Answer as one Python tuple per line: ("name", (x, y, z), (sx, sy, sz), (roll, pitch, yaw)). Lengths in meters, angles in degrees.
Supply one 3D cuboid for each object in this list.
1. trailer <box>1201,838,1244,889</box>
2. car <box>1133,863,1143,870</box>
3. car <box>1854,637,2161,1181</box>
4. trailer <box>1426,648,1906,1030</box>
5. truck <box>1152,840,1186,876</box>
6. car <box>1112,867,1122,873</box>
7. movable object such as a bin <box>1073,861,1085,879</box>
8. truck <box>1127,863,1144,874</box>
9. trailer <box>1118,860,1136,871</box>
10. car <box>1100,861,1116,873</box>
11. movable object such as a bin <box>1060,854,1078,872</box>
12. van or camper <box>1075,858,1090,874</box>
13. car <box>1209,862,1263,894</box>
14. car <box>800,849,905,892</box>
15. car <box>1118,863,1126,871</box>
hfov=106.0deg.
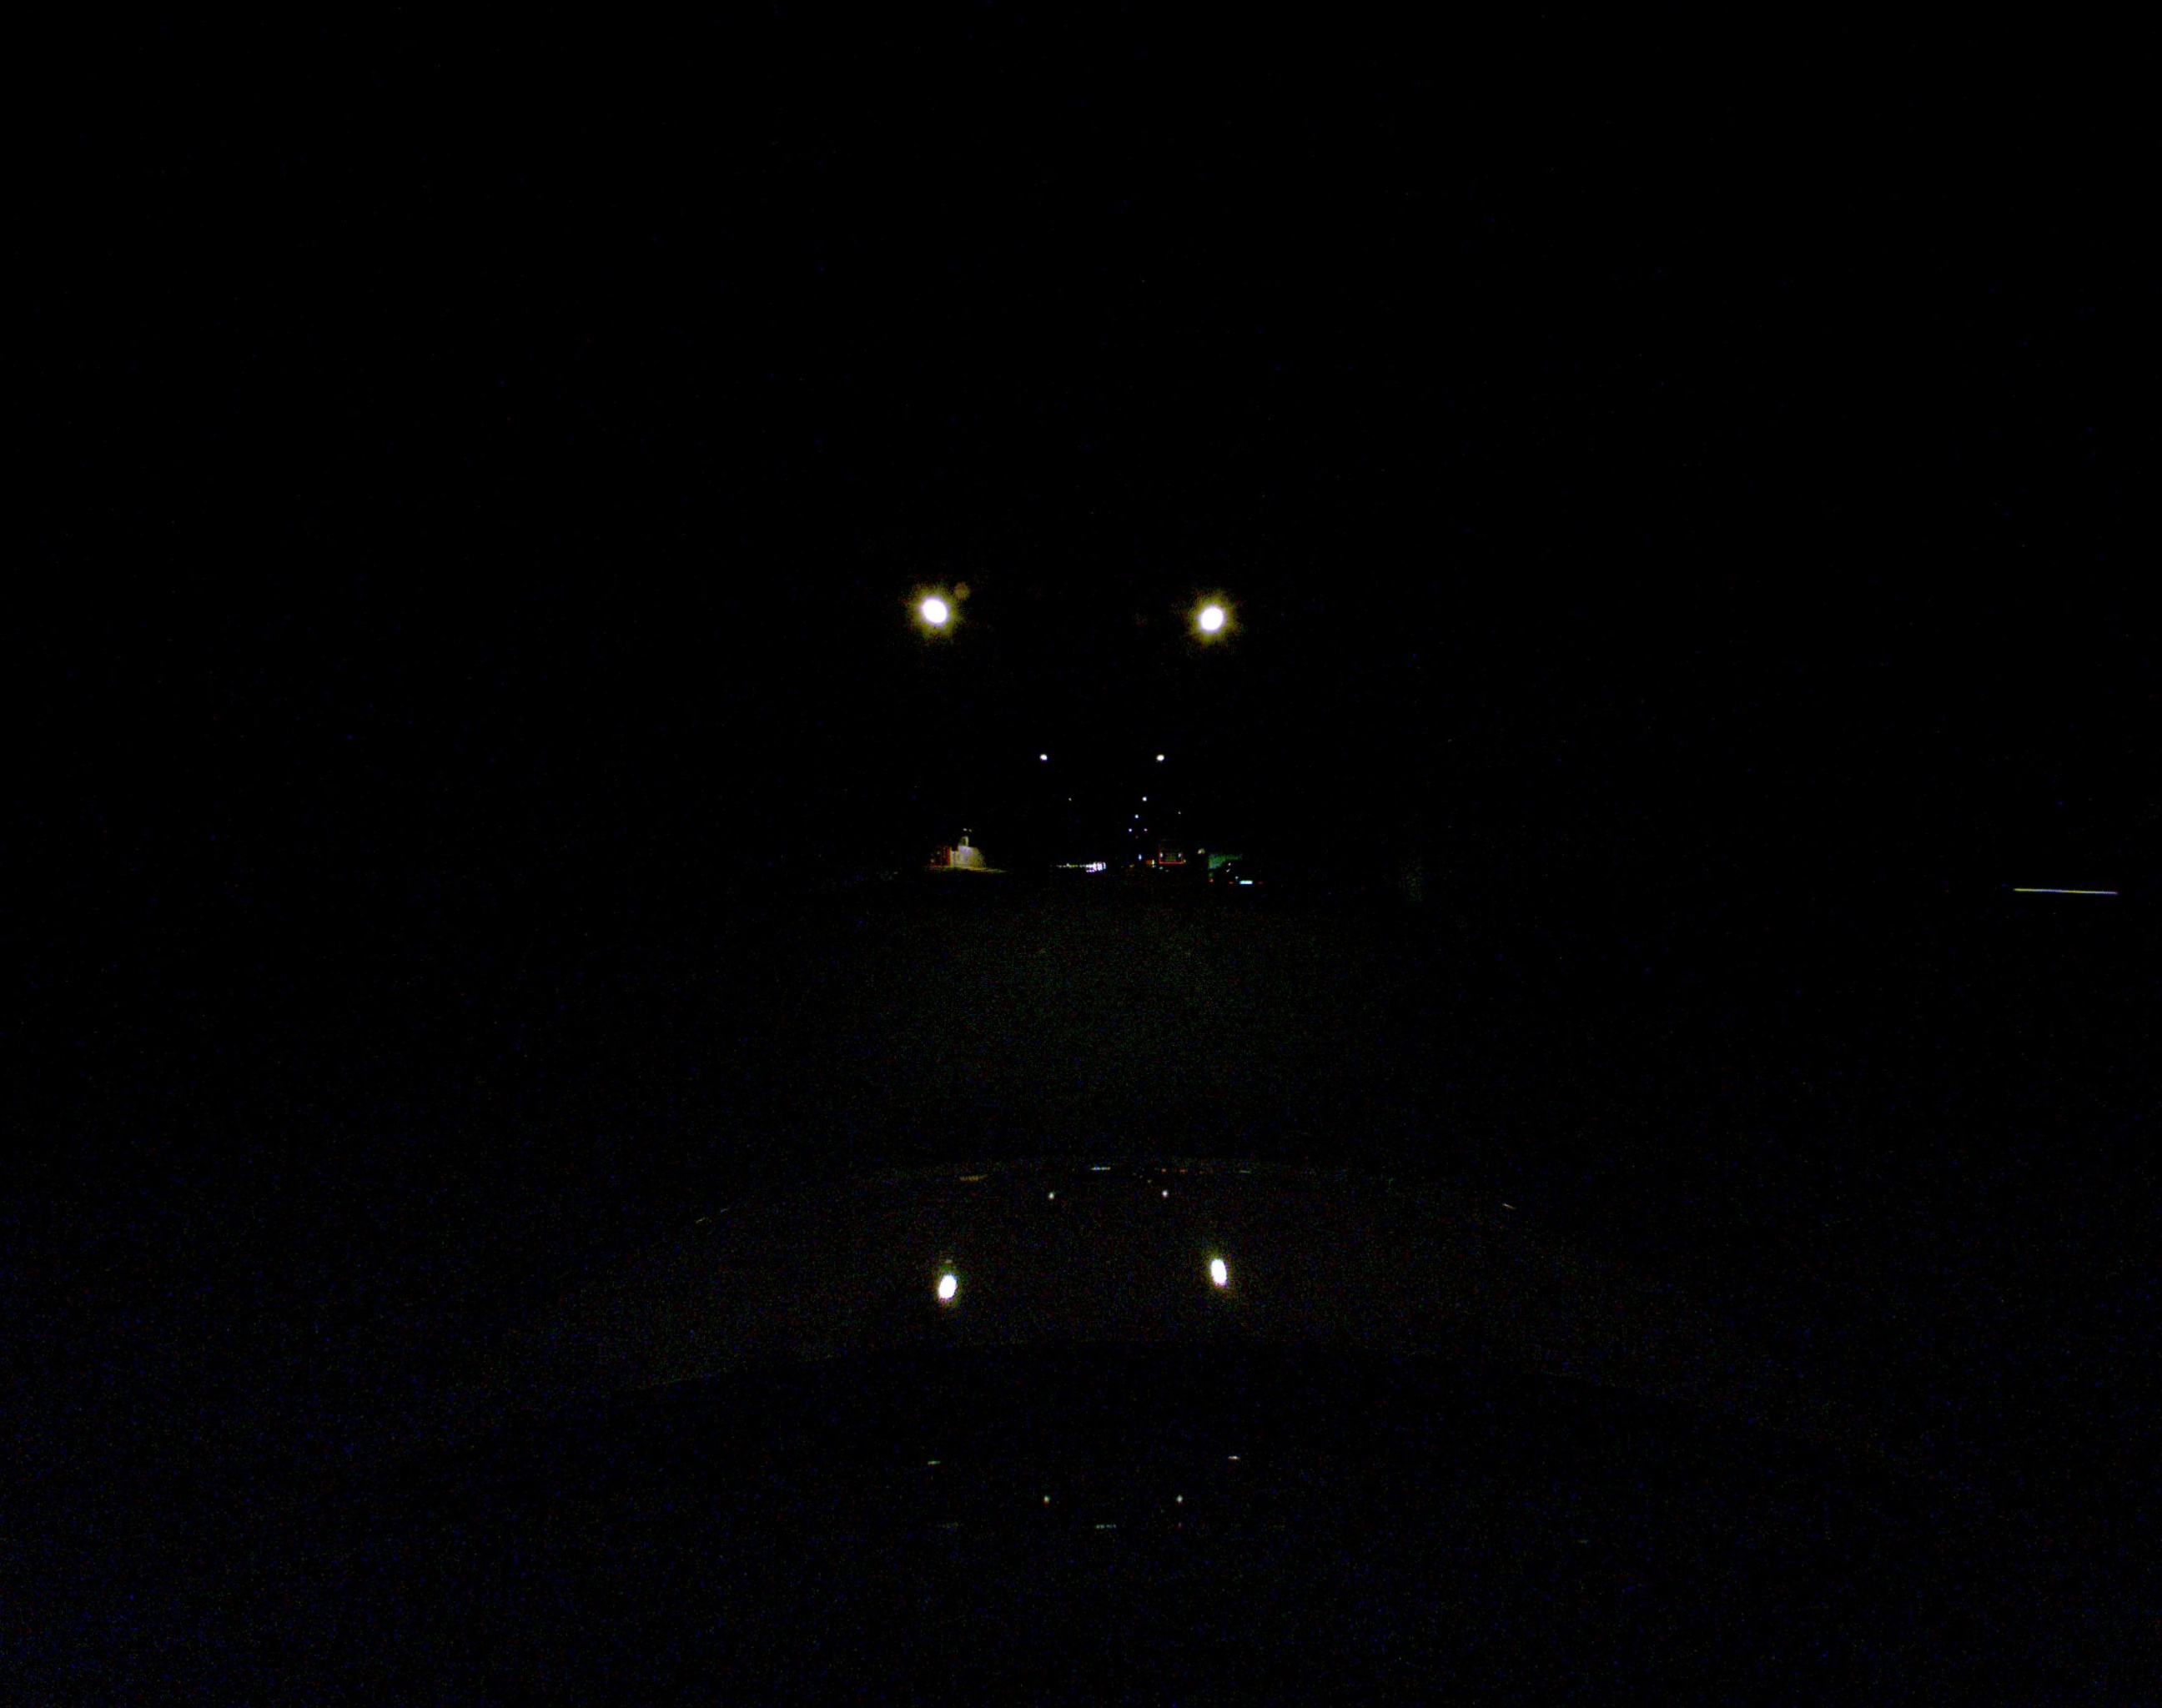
("trailer", (7.667, 0.515, 44.462), (1.984, 2.651, 4.006), (0, -1, 6))
("car", (15.060, 3.234, 213.780), (1.707, 1.821, 4.018), (0, -2, 18))
("car", (5.894, 0.250, 2.107), (1.931, 2.548, 6.654), (0, -1, 5))
("trailer", (6.058, -0.115, 9.324), (2.390, 3.326, 4.361), (1, -1, 0))
("truck", (9.903, 0.509, 92.842), (3.310, 3.869, 9.333), (0, -1, 3))
("car", (10.458, 4.578, 237.779), (1.978, 1.700, 4.225), (0, -2, 18))
("movable object such as a bin", (-0.377, 2.591, 129.885), (1.567, 2.734, 3.695), (-3, 0, -4))
("truck", (17.018, 4.521, 252.427), (1.975, 3.404, 9.031), (0, -1, 26))
("trailer", (9.605, 2.357, 170.393), (1.567, 2.161, 5.178), (-1, -2, -25))
("car", (7.419, 3.608, 222.175), (2.500, 3.171, 7.167), (-2, -2, 16))
("movable object such as a bin", (-1.616, 1.237, 110.205), (1.552, 2.467, 2.822), (-1, -2, -18))
("van or camper", (0.416, 2.538, 167.353), (2.508, 3.094, 7.452), (-2, -2, 4))
("car", (7.248, 1.092, 38.473), (1.720, 1.386, 4.677), (1, 0, 1))
("car", (-10.927, 0.763, 39.204), (4.415, 1.972, 2.001), (1, -1, 2))
("car", (9.303, 2.945, 185.379), (1.713, 1.661, 4.003), (1, -2, 3))
